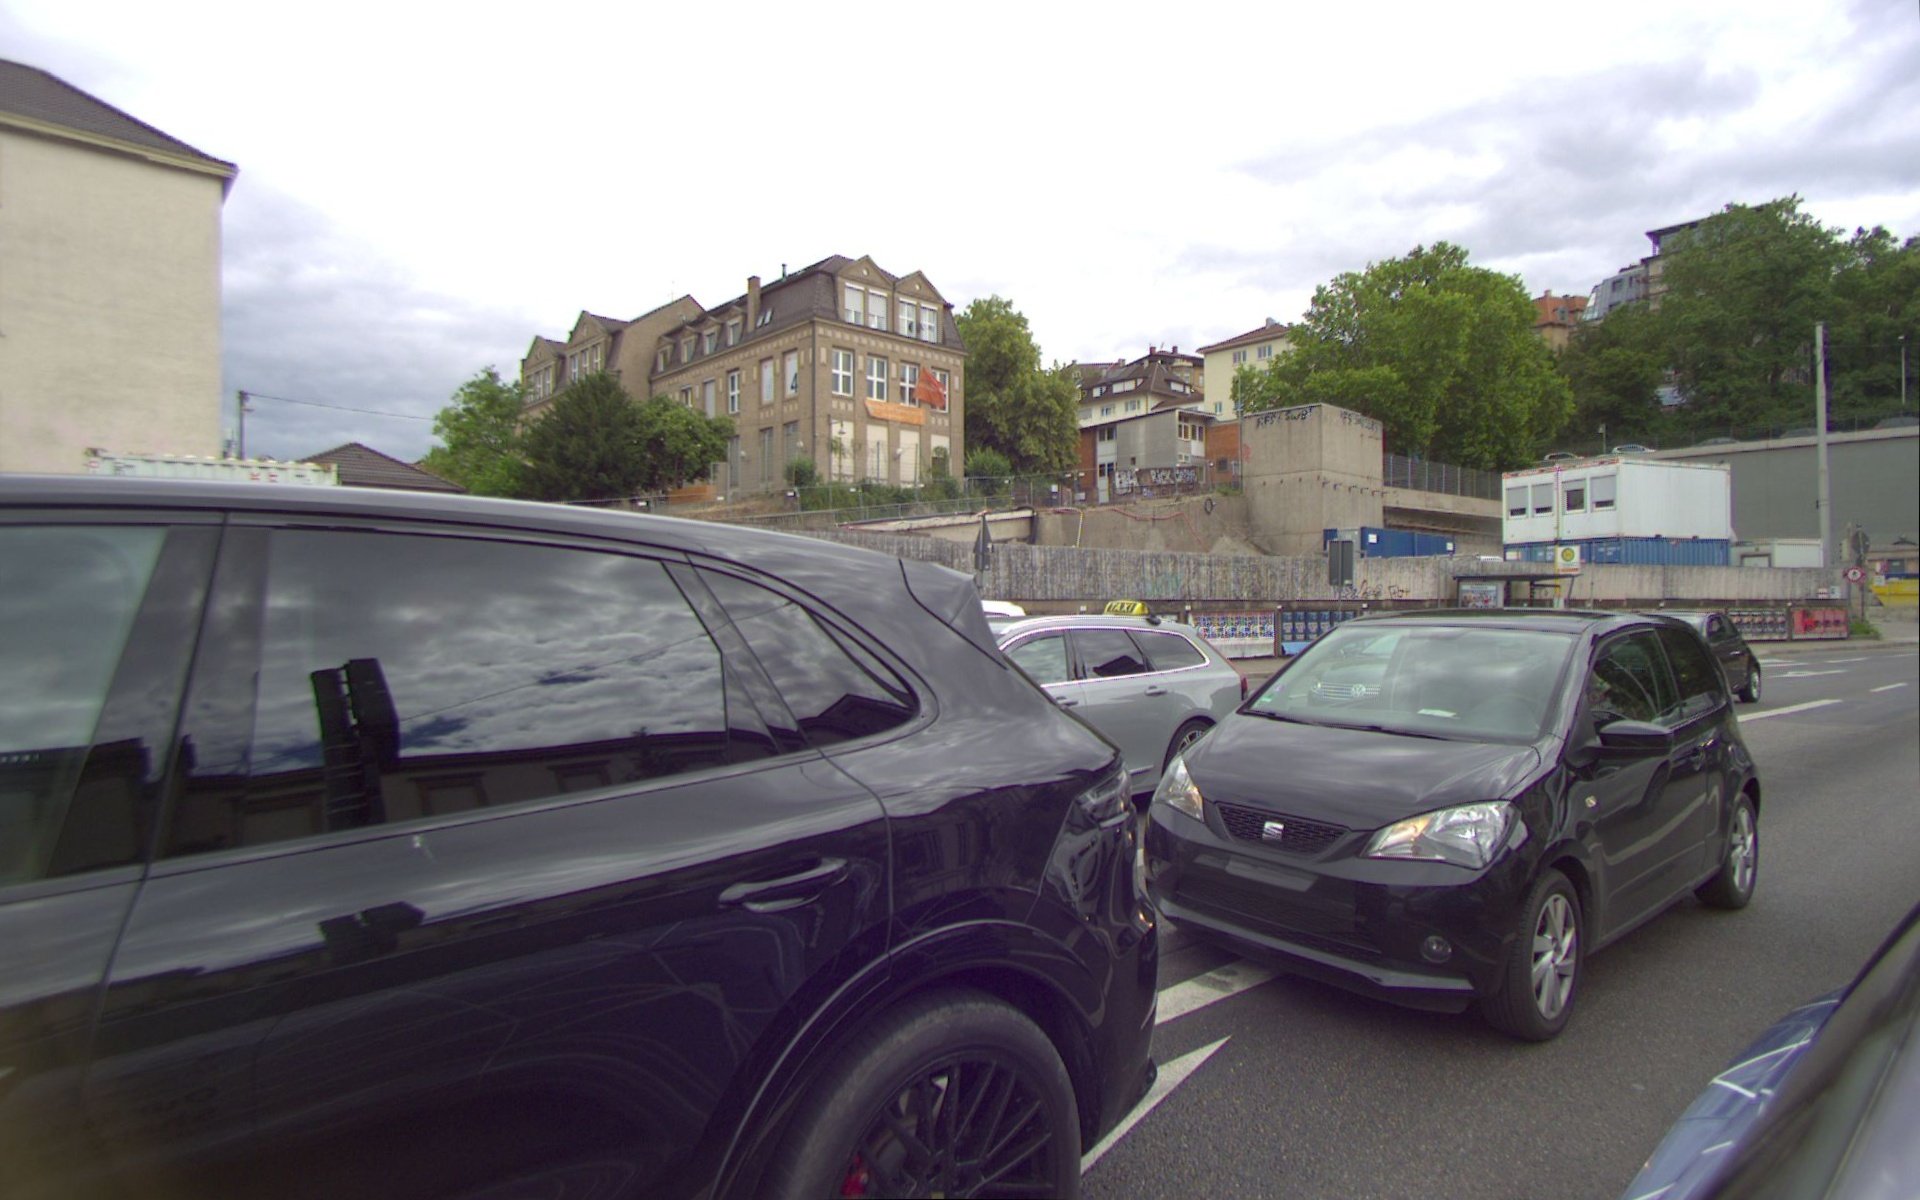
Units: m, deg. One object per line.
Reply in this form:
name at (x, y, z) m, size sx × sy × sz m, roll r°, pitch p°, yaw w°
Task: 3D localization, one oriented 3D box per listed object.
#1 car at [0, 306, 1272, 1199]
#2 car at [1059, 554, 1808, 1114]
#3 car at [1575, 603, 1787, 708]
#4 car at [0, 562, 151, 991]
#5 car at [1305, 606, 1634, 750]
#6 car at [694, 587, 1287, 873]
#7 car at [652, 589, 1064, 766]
car at (-1.657, 0.559, 1.660) m, size 4.497 × 1.689 × 1.998 m, roll -1°, pitch 0°, yaw -39°
car at (2.413, 0.634, 4.711) m, size 3.841 × 1.575 × 1.661 m, roll -1°, pitch 0°, yaw -39°
car at (11.496, 0.805, 16.066) m, size 3.711 × 1.478 × 1.721 m, roll 1°, pitch -2°, yaw -38°
car at (-5.061, 0.640, 3.450) m, size 3.581 × 1.529 × 1.826 m, roll -1°, pitch 0°, yaw -39°
car at (6.025, 0.772, 11.797) m, size 4.139 × 1.381 × 1.827 m, roll 1°, pitch 0°, yaw -38°
car at (0.401, 0.660, 7.332) m, size 4.142 × 1.484 × 1.825 m, roll -1°, pitch 0°, yaw -40°
car at (-0.937, 0.636, 10.596) m, size 4.004 × 1.484 × 1.824 m, roll -1°, pitch 0°, yaw -42°
